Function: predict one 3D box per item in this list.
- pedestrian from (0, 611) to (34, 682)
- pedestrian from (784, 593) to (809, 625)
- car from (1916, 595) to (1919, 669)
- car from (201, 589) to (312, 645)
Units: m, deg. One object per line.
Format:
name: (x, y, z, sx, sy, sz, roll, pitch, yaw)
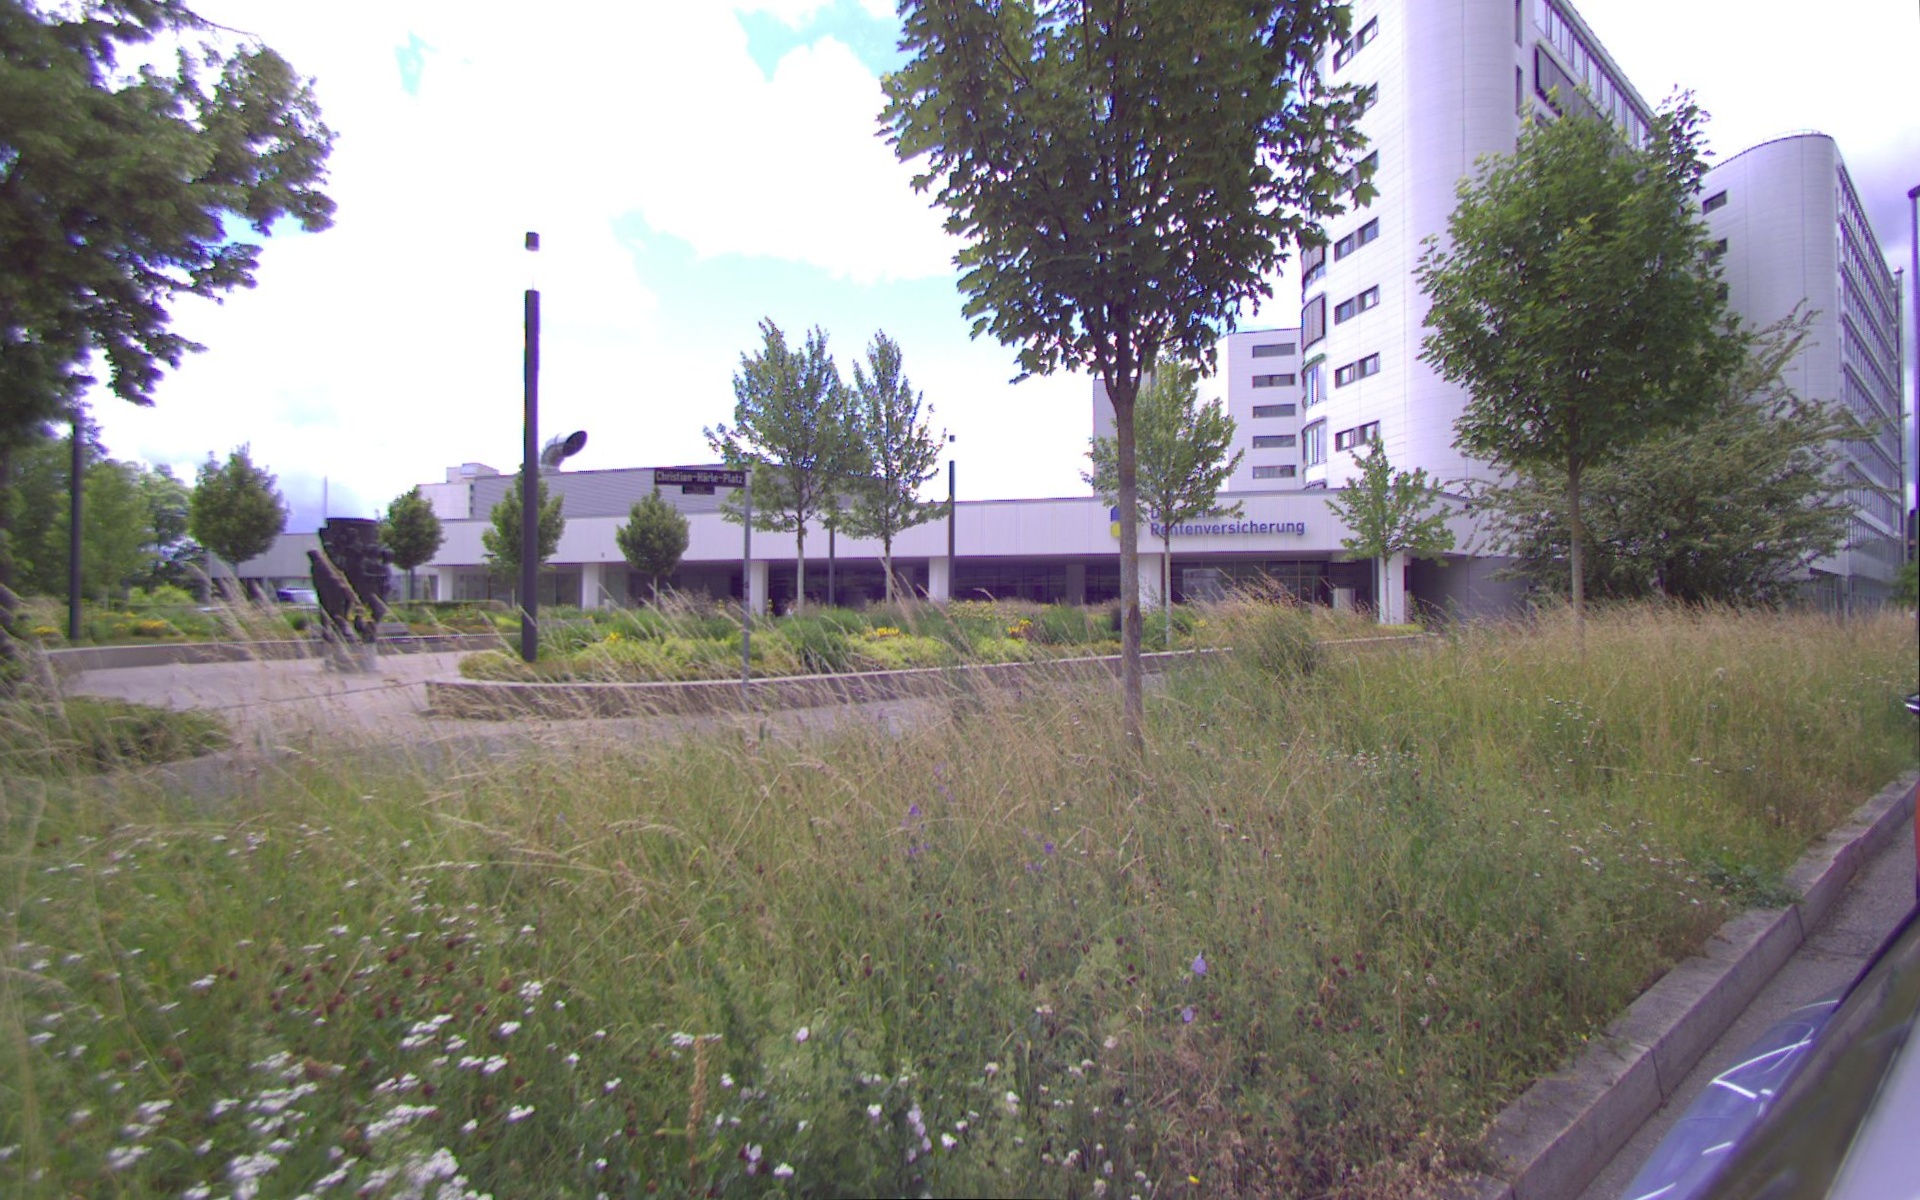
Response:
pedestrian: (-17.458, 0.845, 18.672, 0.560, 1.278, 0.581, 0, 0, -43)
pedestrian: (-6.778, 0.356, 41.934, 0.869, 1.290, 0.704, 1, 0, 2)
car: (22.617, 0.714, 22.480, 3.386, 1.594, 1.736, 0, 0, -42)
car: (-23.374, 0.524, 33.614, 3.470, 1.788, 1.622, 0, 0, 27)
